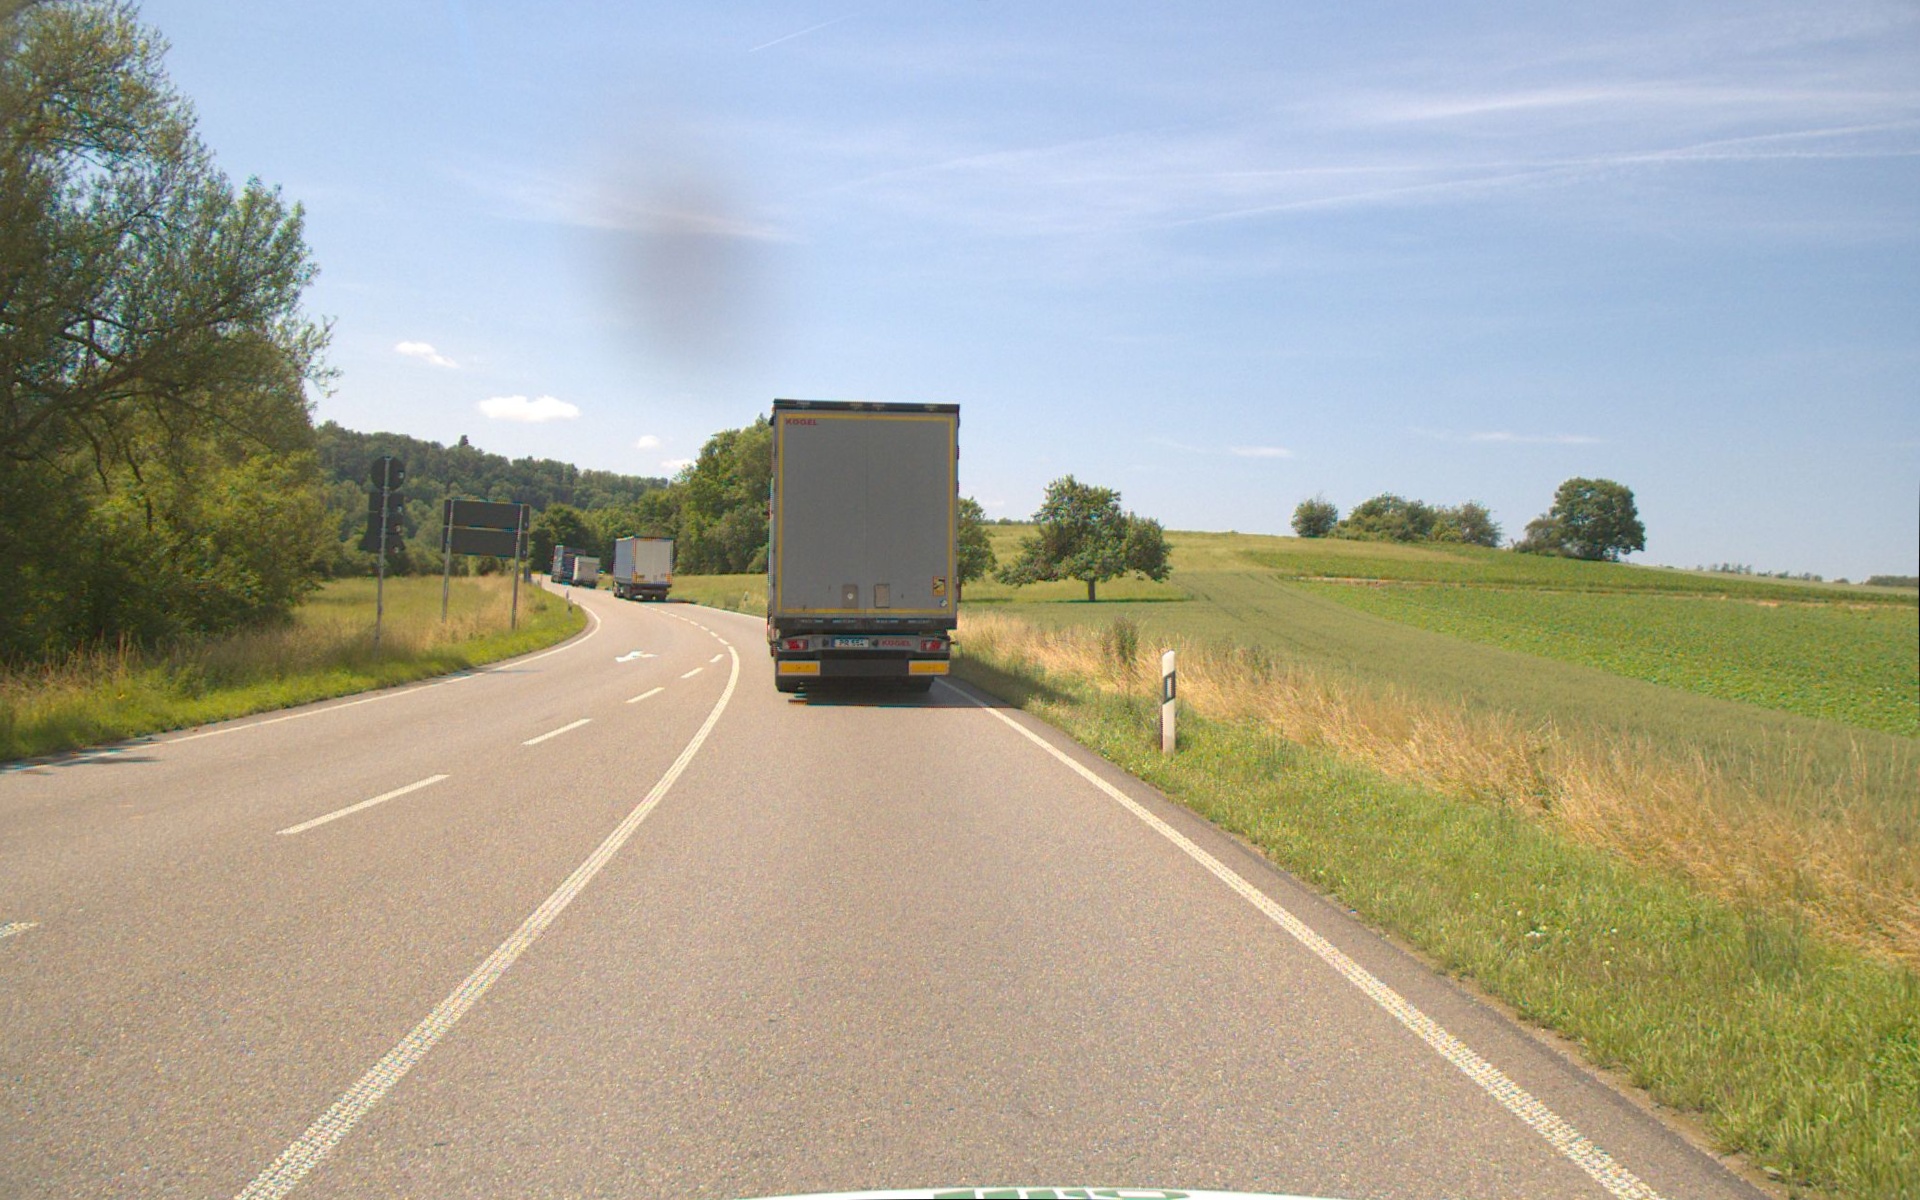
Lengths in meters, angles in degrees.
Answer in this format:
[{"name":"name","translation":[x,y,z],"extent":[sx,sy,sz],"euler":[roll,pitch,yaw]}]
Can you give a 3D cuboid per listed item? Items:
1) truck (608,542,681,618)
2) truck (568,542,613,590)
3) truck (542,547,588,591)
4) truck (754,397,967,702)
[{"name":"truck","translation":[-21.546,-1.459,112.135],"extent":[2.914,4.663,16.239],"euler":[3,1,-17]},{"name":"truck","translation":[-37.750,-3.347,168.406],"extent":[3.578,4.201,13.040],"euler":[3,-2,-16]},{"name":"truck","translation":[-44.332,-3.378,185.182],"extent":[3.476,4.315,13.329],"euler":[3,-2,-19]},{"name":"truck","translation":[-1.903,-0.709,26.765],"extent":[2.755,4.015,9.575],"euler":[1,0,-7]}]
